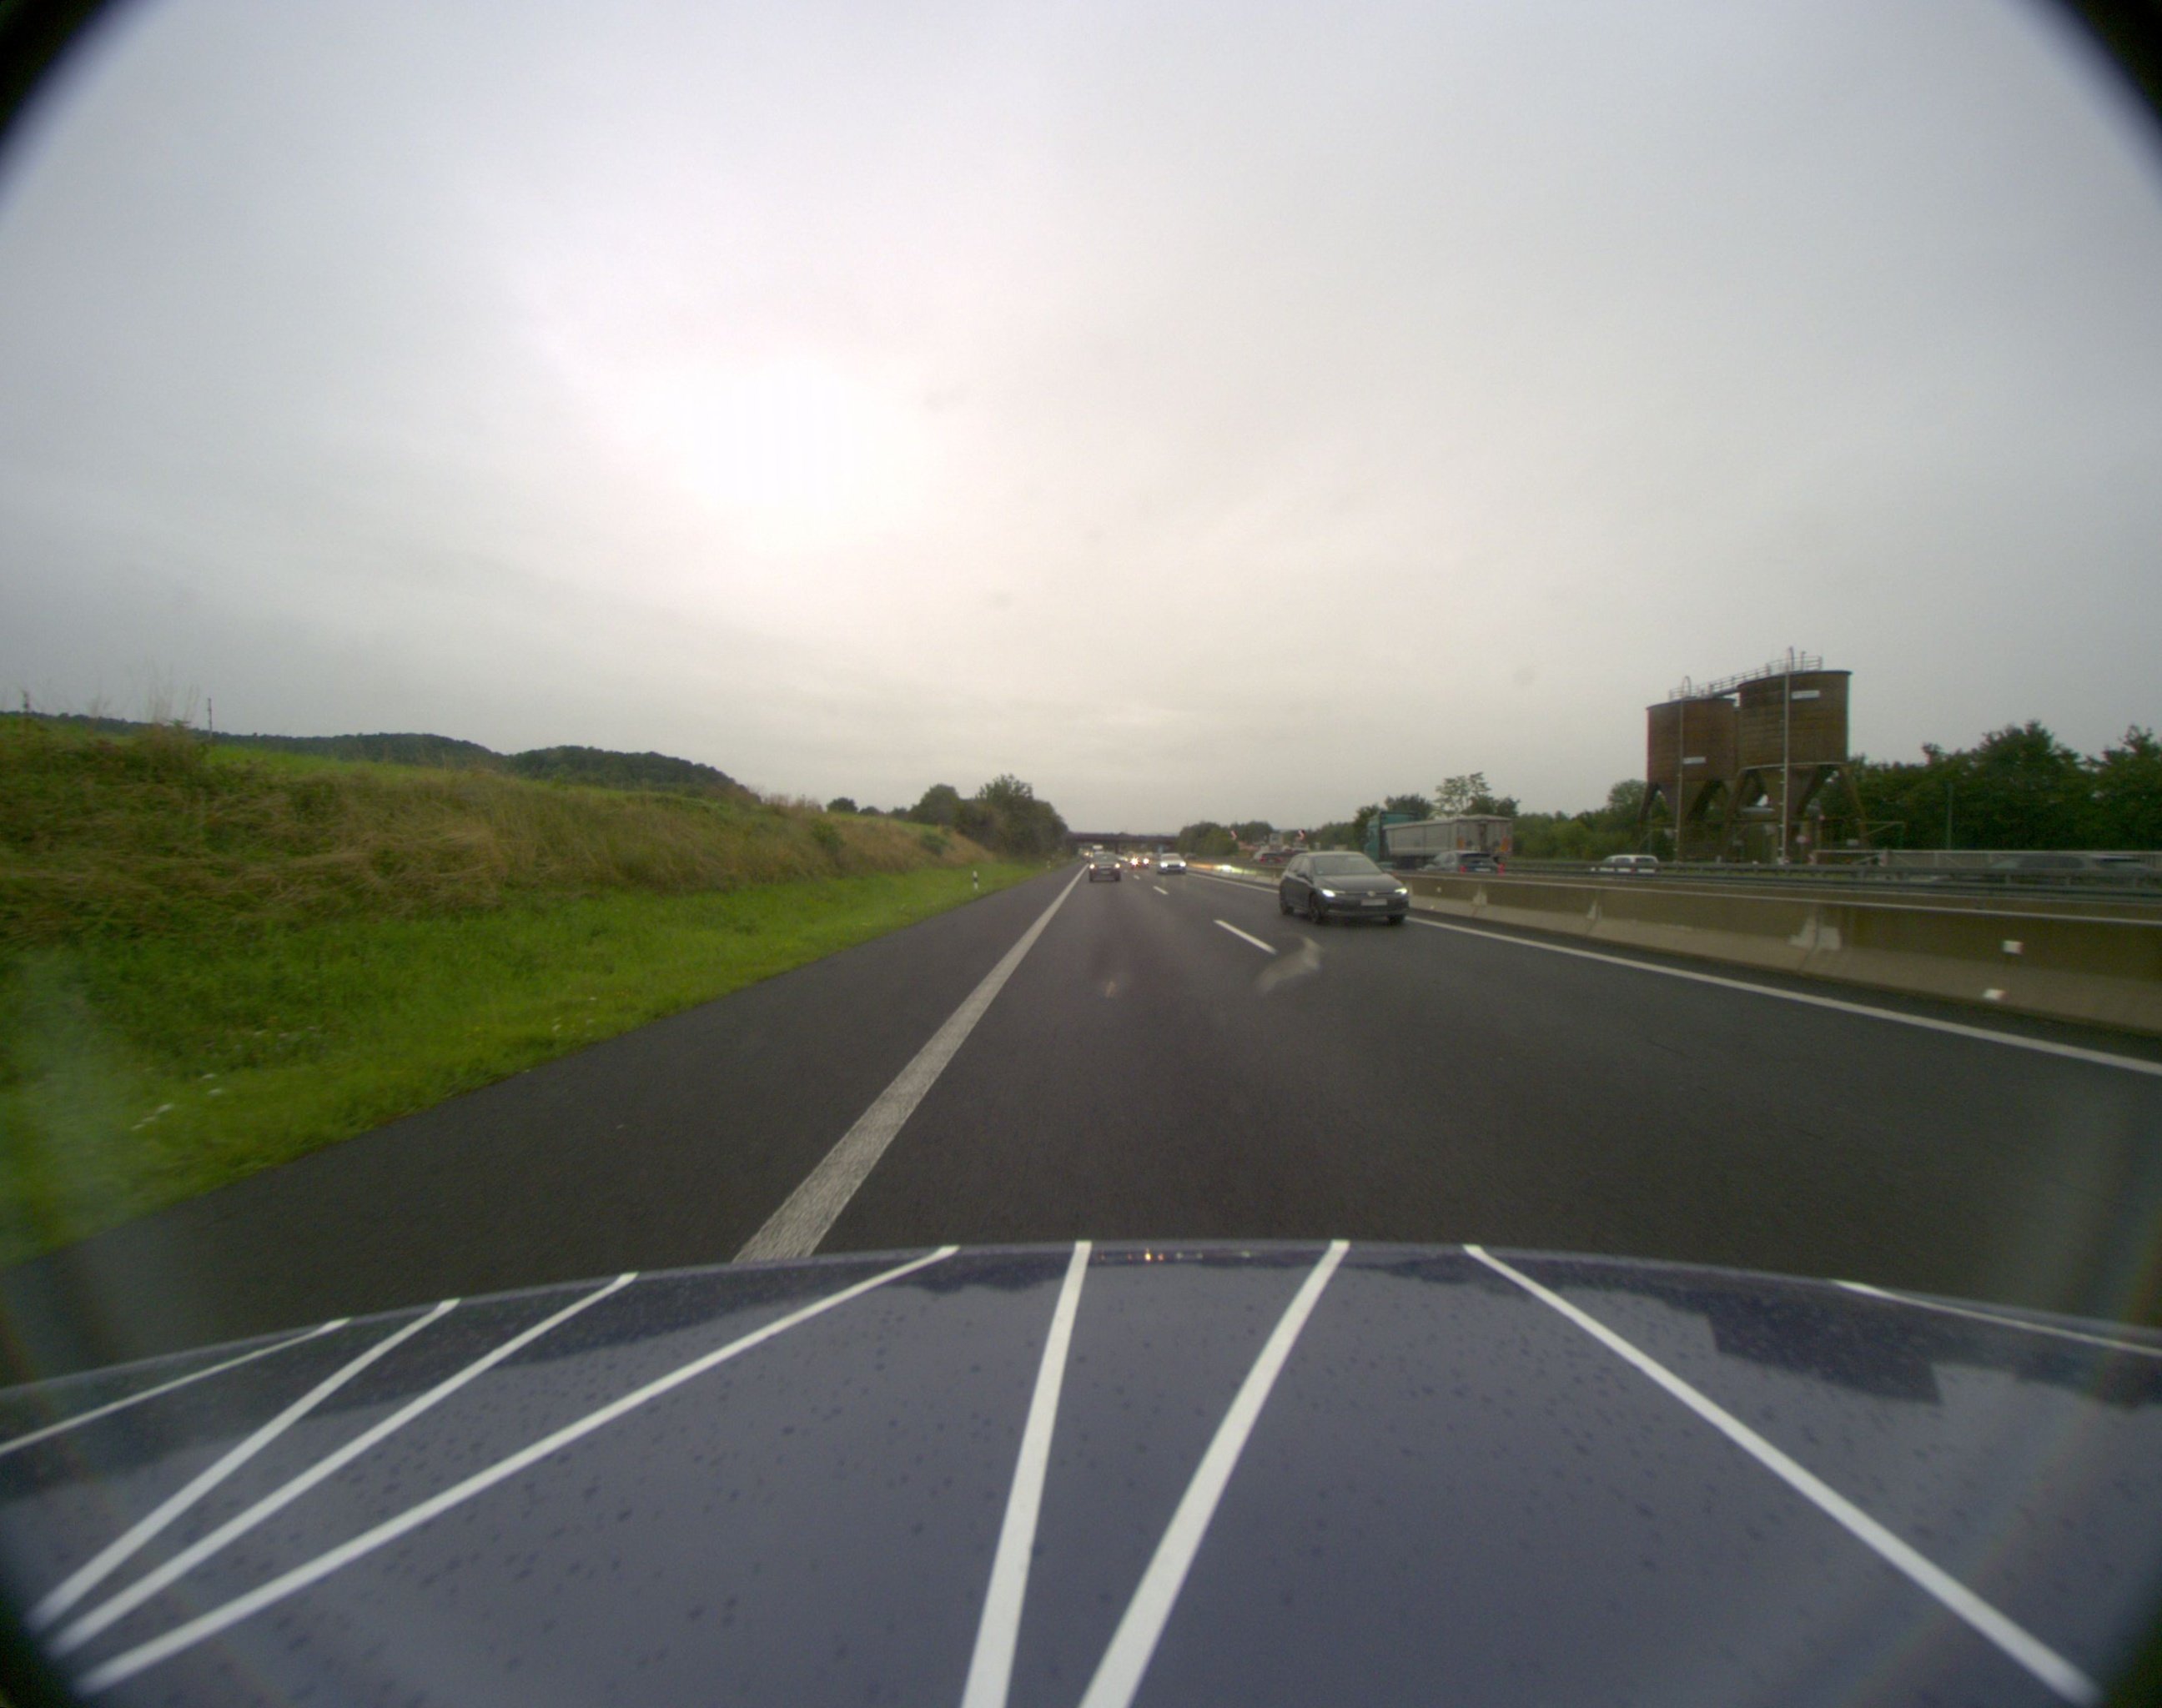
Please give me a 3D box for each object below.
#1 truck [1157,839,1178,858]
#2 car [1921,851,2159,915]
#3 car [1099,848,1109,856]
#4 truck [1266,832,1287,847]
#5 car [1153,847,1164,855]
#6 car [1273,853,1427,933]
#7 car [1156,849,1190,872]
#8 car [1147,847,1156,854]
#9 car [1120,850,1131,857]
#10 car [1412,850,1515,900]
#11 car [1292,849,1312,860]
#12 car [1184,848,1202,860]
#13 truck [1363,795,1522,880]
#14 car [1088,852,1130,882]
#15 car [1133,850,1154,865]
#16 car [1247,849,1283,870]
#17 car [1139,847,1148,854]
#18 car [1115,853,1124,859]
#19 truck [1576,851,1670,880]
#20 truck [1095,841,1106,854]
[{"bbox_3d":[22.006,-1.363,194.287,3.786,4.451,12.891,-1,0,-1],"label":"truck"},{"bbox_3d":[30.024,0.835,24.063,1.907,1.798,4.461,-1,0,1],"label":"car"},{"bbox_3d":[4.683,-0.390,152.428,1.941,1.341,4.000,-3,0,1],"label":"car"},{"bbox_3d":[46.204,-3.432,179.641,3.253,3.197,7.604,-2,0,2],"label":"truck"},{"bbox_3d":[16.999,-0.574,166.012,1.911,1.649,3.999,-1,0,-1],"label":"car"},{"bbox_3d":[5.589,0.732,16.397,1.835,1.417,4.368,-2,0,1],"label":"car"},{"bbox_3d":[6.645,0.451,55.323,1.998,1.582,4.817,-1,0,2],"label":"car"},{"bbox_3d":[17.681,-0.828,190.077,1.911,1.649,3.999,-1,0,-1],"label":"car"},{"bbox_3d":[8.307,-0.069,142.421,1.941,1.341,4.000,-3,0,1],"label":"car"},{"bbox_3d":[13.539,0.688,27.166,1.717,1.587,4.000,-1,0,1],"label":"car"},{"bbox_3d":[38.253,0.073,131.382,2.075,2.002,4.550,0,0,0],"label":"car"},{"bbox_3d":[15.718,0.033,107.052,1.911,1.649,3.999,-1,0,-1],"label":"car"},{"bbox_3d":[18.420,-0.826,40.076,2.976,3.689,11.909,-2,1,2],"label":"truck"},{"bbox_3d":[1.626,0.719,43.935,2.242,1.565,4.817,-2,0,3],"label":"car"},{"bbox_3d":[6.212,0.331,76.296,1.835,1.417,4.368,-3,0,2],"label":"car"},{"bbox_3d":[14.337,0.403,59.365,1.785,1.622,3.999,0,0,-1],"label":"car"},{"bbox_3d":[16.955,-0.952,205.368,1.911,1.649,3.999,-1,0,-1],"label":"car"},{"bbox_3d":[8.448,0.400,167.461,1.941,1.341,4.000,-3,0,1],"label":"car"},{"bbox_3d":[34.298,0.676,48.314,1.999,1.636,5.405,-3,0,0],"label":"truck"},{"bbox_3d":[5.128,-1.628,199.019,2.728,3.098,7.960,-3,0,1],"label":"truck"}]
